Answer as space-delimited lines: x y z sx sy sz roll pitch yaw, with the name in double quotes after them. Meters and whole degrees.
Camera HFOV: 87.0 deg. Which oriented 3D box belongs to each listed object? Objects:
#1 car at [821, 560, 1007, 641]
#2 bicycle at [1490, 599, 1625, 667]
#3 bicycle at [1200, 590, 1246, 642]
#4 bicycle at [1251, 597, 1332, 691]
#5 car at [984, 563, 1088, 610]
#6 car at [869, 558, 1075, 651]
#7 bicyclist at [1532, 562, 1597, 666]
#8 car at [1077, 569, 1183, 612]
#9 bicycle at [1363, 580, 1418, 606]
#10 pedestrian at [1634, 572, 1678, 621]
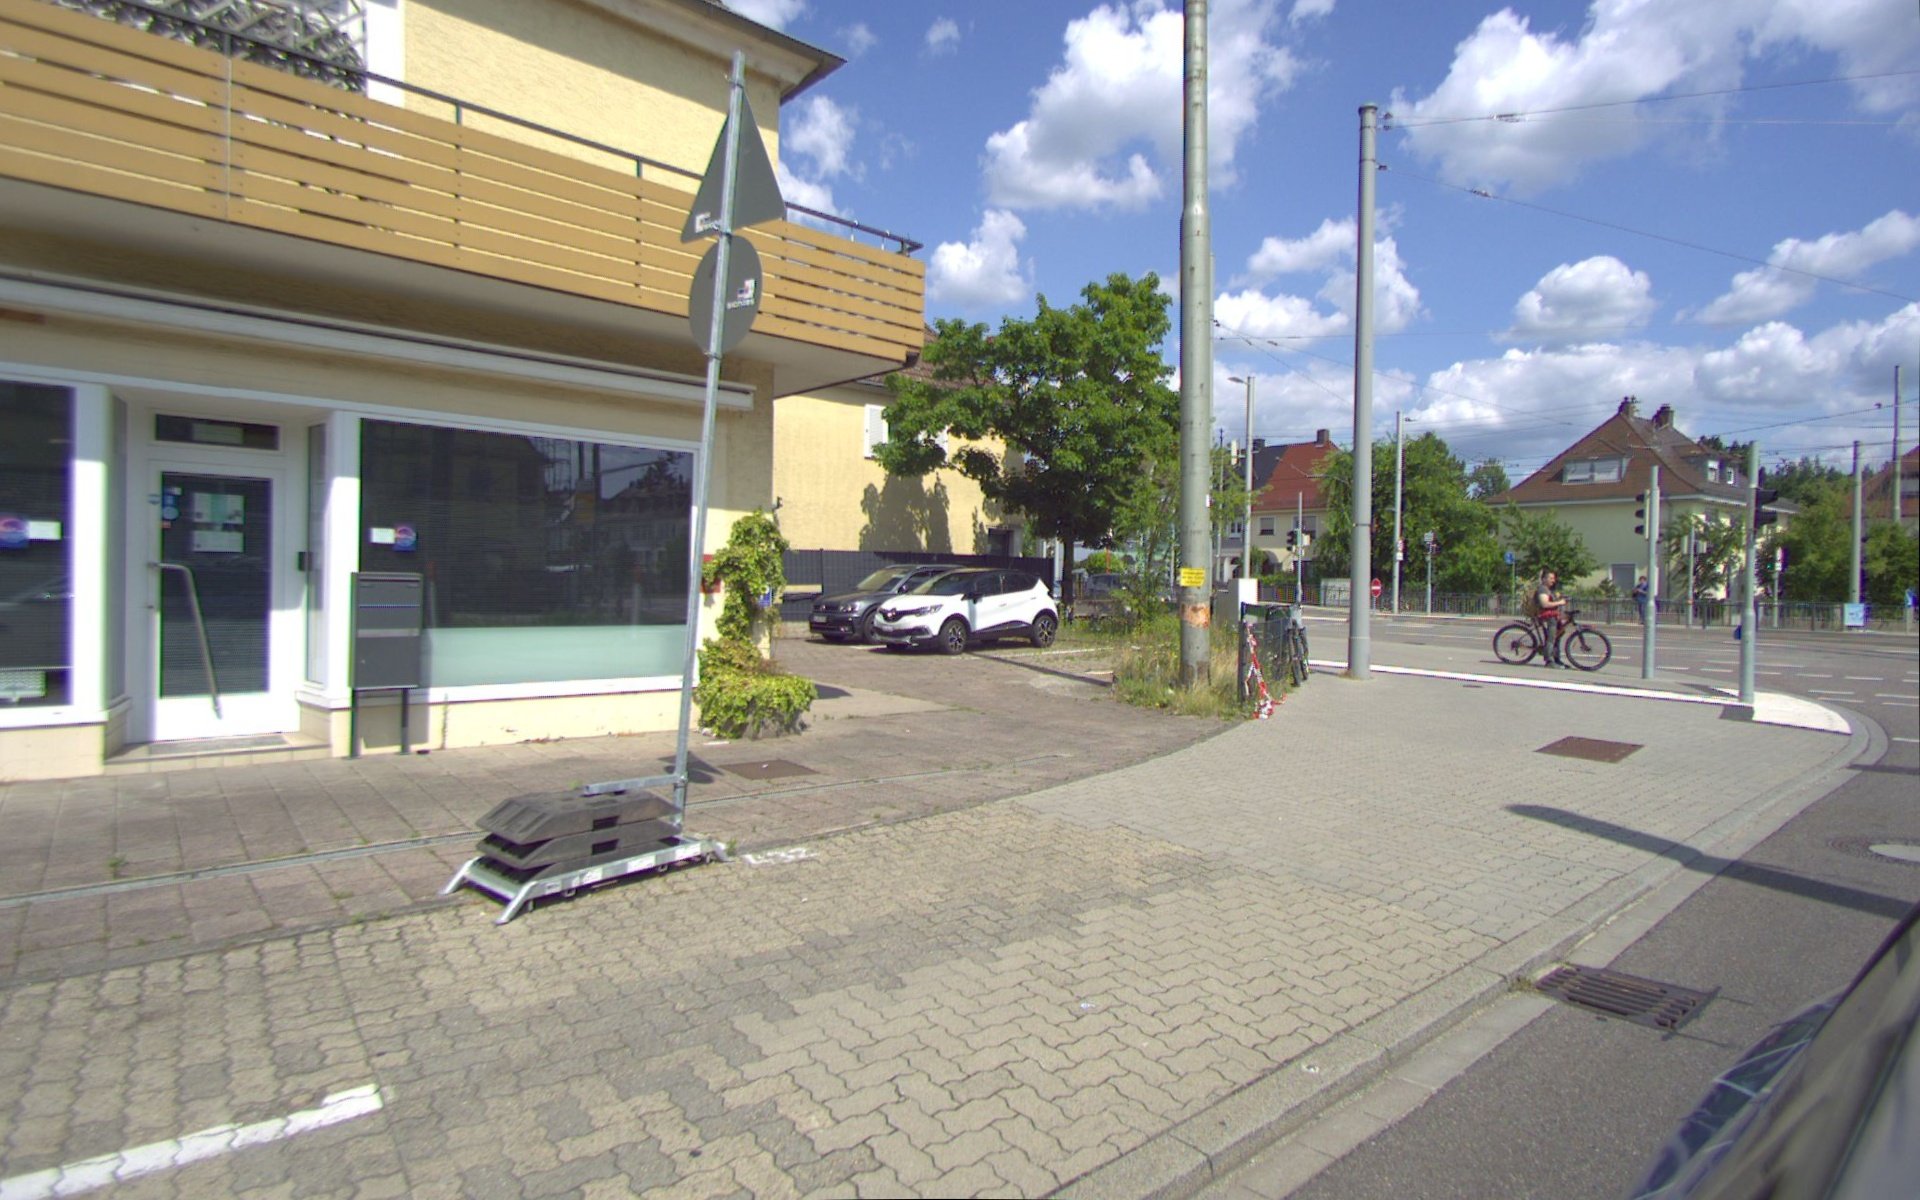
-0.960 -0.068 22.469 3.935 1.641 1.824 -2 3 -44 "car"
10.650 0.558 18.119 2.016 1.115 0.708 1 1 30 "bicycle"
6.059 0.345 23.398 0.690 1.119 1.806 1 1 4 "bicycle"
4.491 0.543 13.613 0.590 1.110 2.253 1 1 30 "bicycle"
2.885 -0.545 39.399 1.903 1.713 4.000 0 1 -36 "car"
0.311 0.000 19.913 3.935 1.641 1.824 -2 3 -44 "car"
10.766 0.233 18.056 0.952 1.797 0.712 1 1 30 "bicyclist"
6.620 -0.415 39.709 1.807 1.588 4.000 0 1 -36 "car"
23.815 -0.391 56.019 0.612 1.351 2.797 1 1 -41 "bicycle"
25.207 -0.128 36.662 1.022 1.756 1.032 1 1 -38 "pedestrian"
